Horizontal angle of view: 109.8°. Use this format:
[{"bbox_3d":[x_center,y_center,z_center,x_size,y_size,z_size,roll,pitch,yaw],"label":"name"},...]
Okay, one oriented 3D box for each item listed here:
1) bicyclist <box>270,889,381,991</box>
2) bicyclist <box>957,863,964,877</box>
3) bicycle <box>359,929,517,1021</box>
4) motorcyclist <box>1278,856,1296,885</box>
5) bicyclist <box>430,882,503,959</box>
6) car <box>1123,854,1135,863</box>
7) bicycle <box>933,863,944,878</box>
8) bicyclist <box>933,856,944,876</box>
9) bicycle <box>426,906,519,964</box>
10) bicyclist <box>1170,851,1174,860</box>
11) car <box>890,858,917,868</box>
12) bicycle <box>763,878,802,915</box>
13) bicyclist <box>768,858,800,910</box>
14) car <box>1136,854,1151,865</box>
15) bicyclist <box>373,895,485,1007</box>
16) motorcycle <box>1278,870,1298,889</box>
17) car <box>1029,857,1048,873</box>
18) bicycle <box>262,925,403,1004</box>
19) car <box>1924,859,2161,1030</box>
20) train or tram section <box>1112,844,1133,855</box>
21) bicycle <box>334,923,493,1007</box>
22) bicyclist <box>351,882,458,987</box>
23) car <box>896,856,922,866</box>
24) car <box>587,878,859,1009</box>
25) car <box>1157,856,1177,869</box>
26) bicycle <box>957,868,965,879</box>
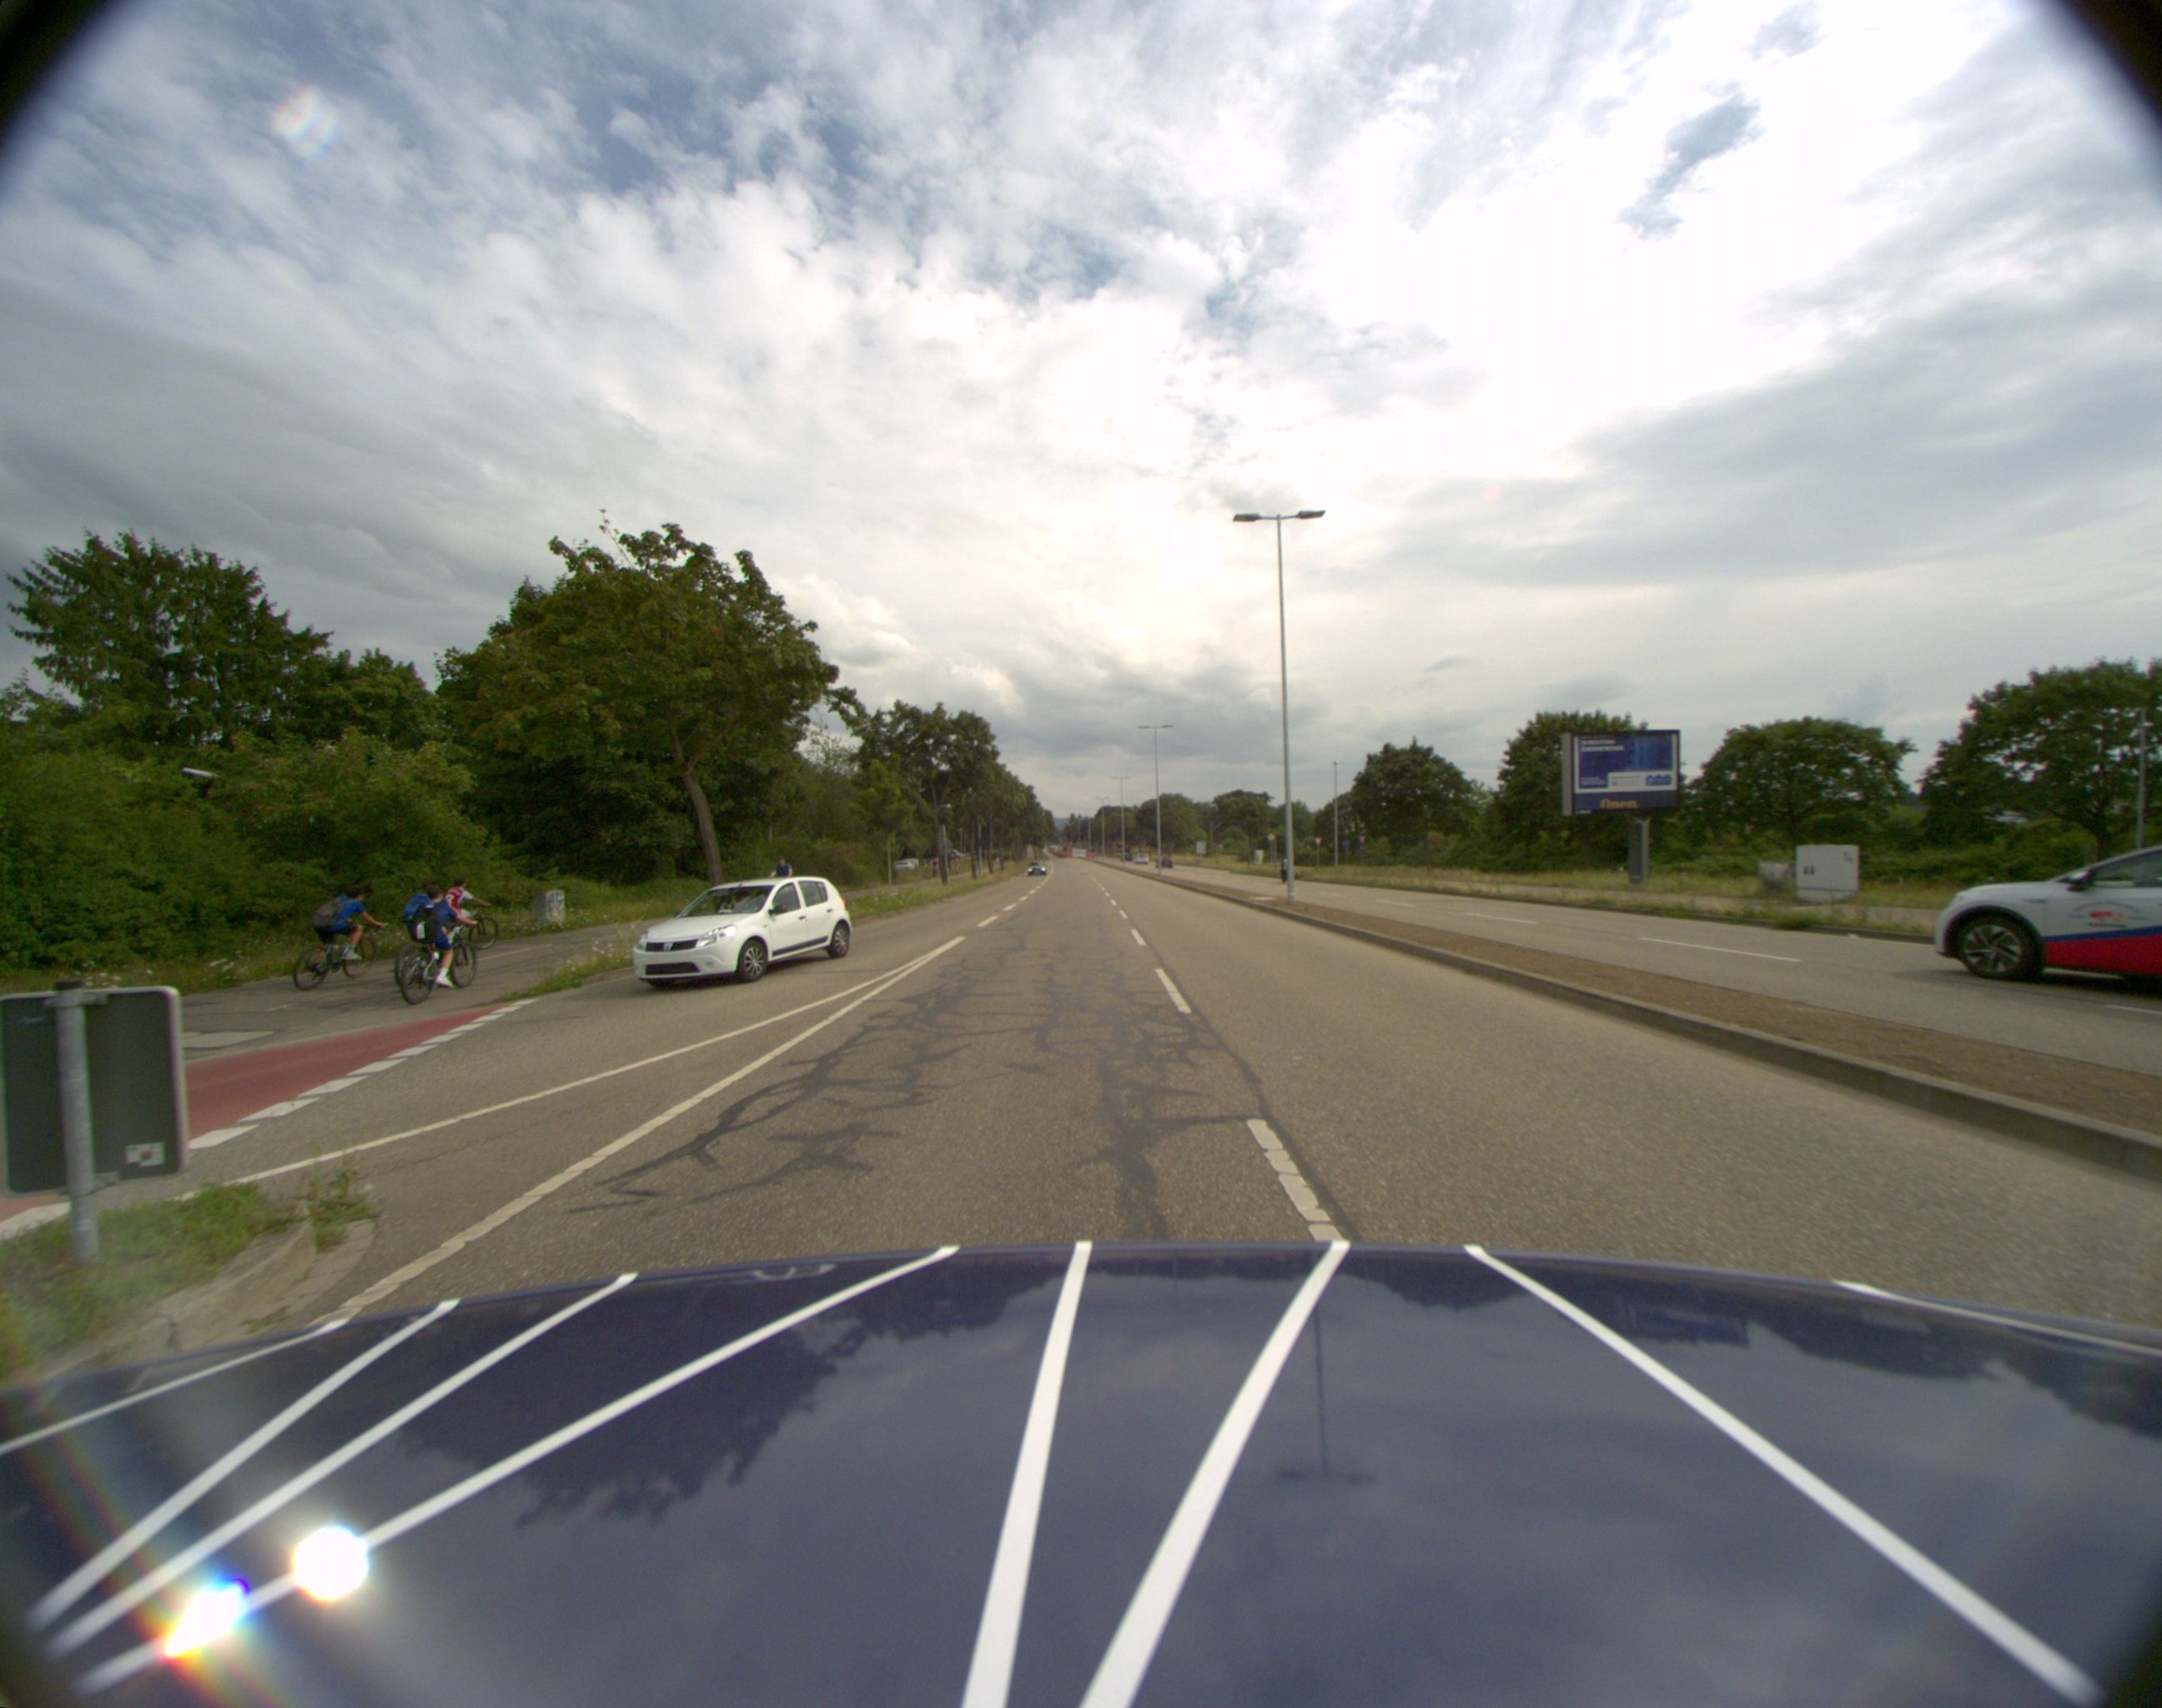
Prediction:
[{"bbox_3d":[-11.981,1.339,12.091,0.743,1.478,0.958,-3,1,-6],"label":"bicyclist"},{"bbox_3d":[-11.633,1.564,73.399,0.540,1.275,0.450,-3,1,-2],"label":"bicyclist"},{"bbox_3d":[-9.617,1.772,11.498,0.621,1.000,2.102,0,2,-1],"label":"bicycle"},{"bbox_3d":[11.497,0.918,42.355,0.772,1.579,0.896,0,0,0],"label":"motorcyclist"},{"bbox_3d":[-12.468,1.328,15.441,0.742,1.465,0.805,-3,1,-4],"label":"bicyclist"},{"bbox_3d":[9.087,0.813,144.160,1.852,1.644,4.563,-1,0,-2],"label":"car"},{"bbox_3d":[-11.620,1.316,62.026,0.515,1.141,2.231,-1,0,-2],"label":"bicycle"},{"bbox_3d":[-11.667,0.970,62.111,0.653,1.648,0.781,-3,1,-2],"label":"bicyclist"},{"bbox_3d":[-12.471,1.625,15.642,0.622,1.000,1.786,0,0,-5],"label":"bicycle"},{"bbox_3d":[18.666,0.363,155.166,0.645,1.821,0.819,-1,1,-2],"label":"bicyclist"},{"bbox_3d":[-27.869,1.450,119.271,3.999,1.435,1.650,-1,0,-7],"label":"car"},{"bbox_3d":[-10.019,1.396,25.595,0.575,1.141,1.982,-1,0,-2],"label":"bicycle"},{"bbox_3d":[-9.968,0.995,25.490,0.653,1.648,0.876,-3,1,-2],"label":"bicyclist"},{"bbox_3d":[9.829,0.836,120.061,1.773,1.644,4.637,0,0,-2],"label":"car"},{"bbox_3d":[-9.657,1.407,11.302,0.743,1.509,0.958,-3,1,-1],"label":"bicyclist"},{"bbox_3d":[11.513,1.412,42.332,0.524,0.961,2.219,-1,0,0],"label":"motorcycle"},{"bbox_3d":[-4.188,1.077,74.636,1.773,1.439,4.322,-2,0,-3],"label":"car"},{"bbox_3d":[-11.964,1.728,12.232,0.622,1.000,1.786,0,0,-5],"label":"bicycle"},{"bbox_3d":[11.057,0.837,6.850,1.852,1.591,4.562,-1,-1,0],"label":"car"},{"bbox_3d":[13.359,-1.380,244.344,2.924,3.402,11.930,-3,1,-16],"label":"train or tram section"},{"bbox_3d":[-10.586,1.715,12.187,0.597,1.030,2.195,-2,0,0],"label":"bicycle"},{"bbox_3d":[-10.620,1.236,11.964,0.743,1.509,0.958,-3,1,-1],"label":"bicyclist"},{"bbox_3d":[-28.696,1.109,126.656,3.999,1.546,1.650,-1,0,-7],"label":"car"},{"bbox_3d":[-5.448,1.289,12.248,1.850,1.493,4.003,-4,0,11],"label":"car"},{"bbox_3d":[10.665,1.074,94.770,1.773,1.523,4.740,-1,0,-2],"label":"car"},{"bbox_3d":[-11.619,1.864,73.446,0.515,0.958,1.782,-1,0,-2],"label":"bicycle"}]
